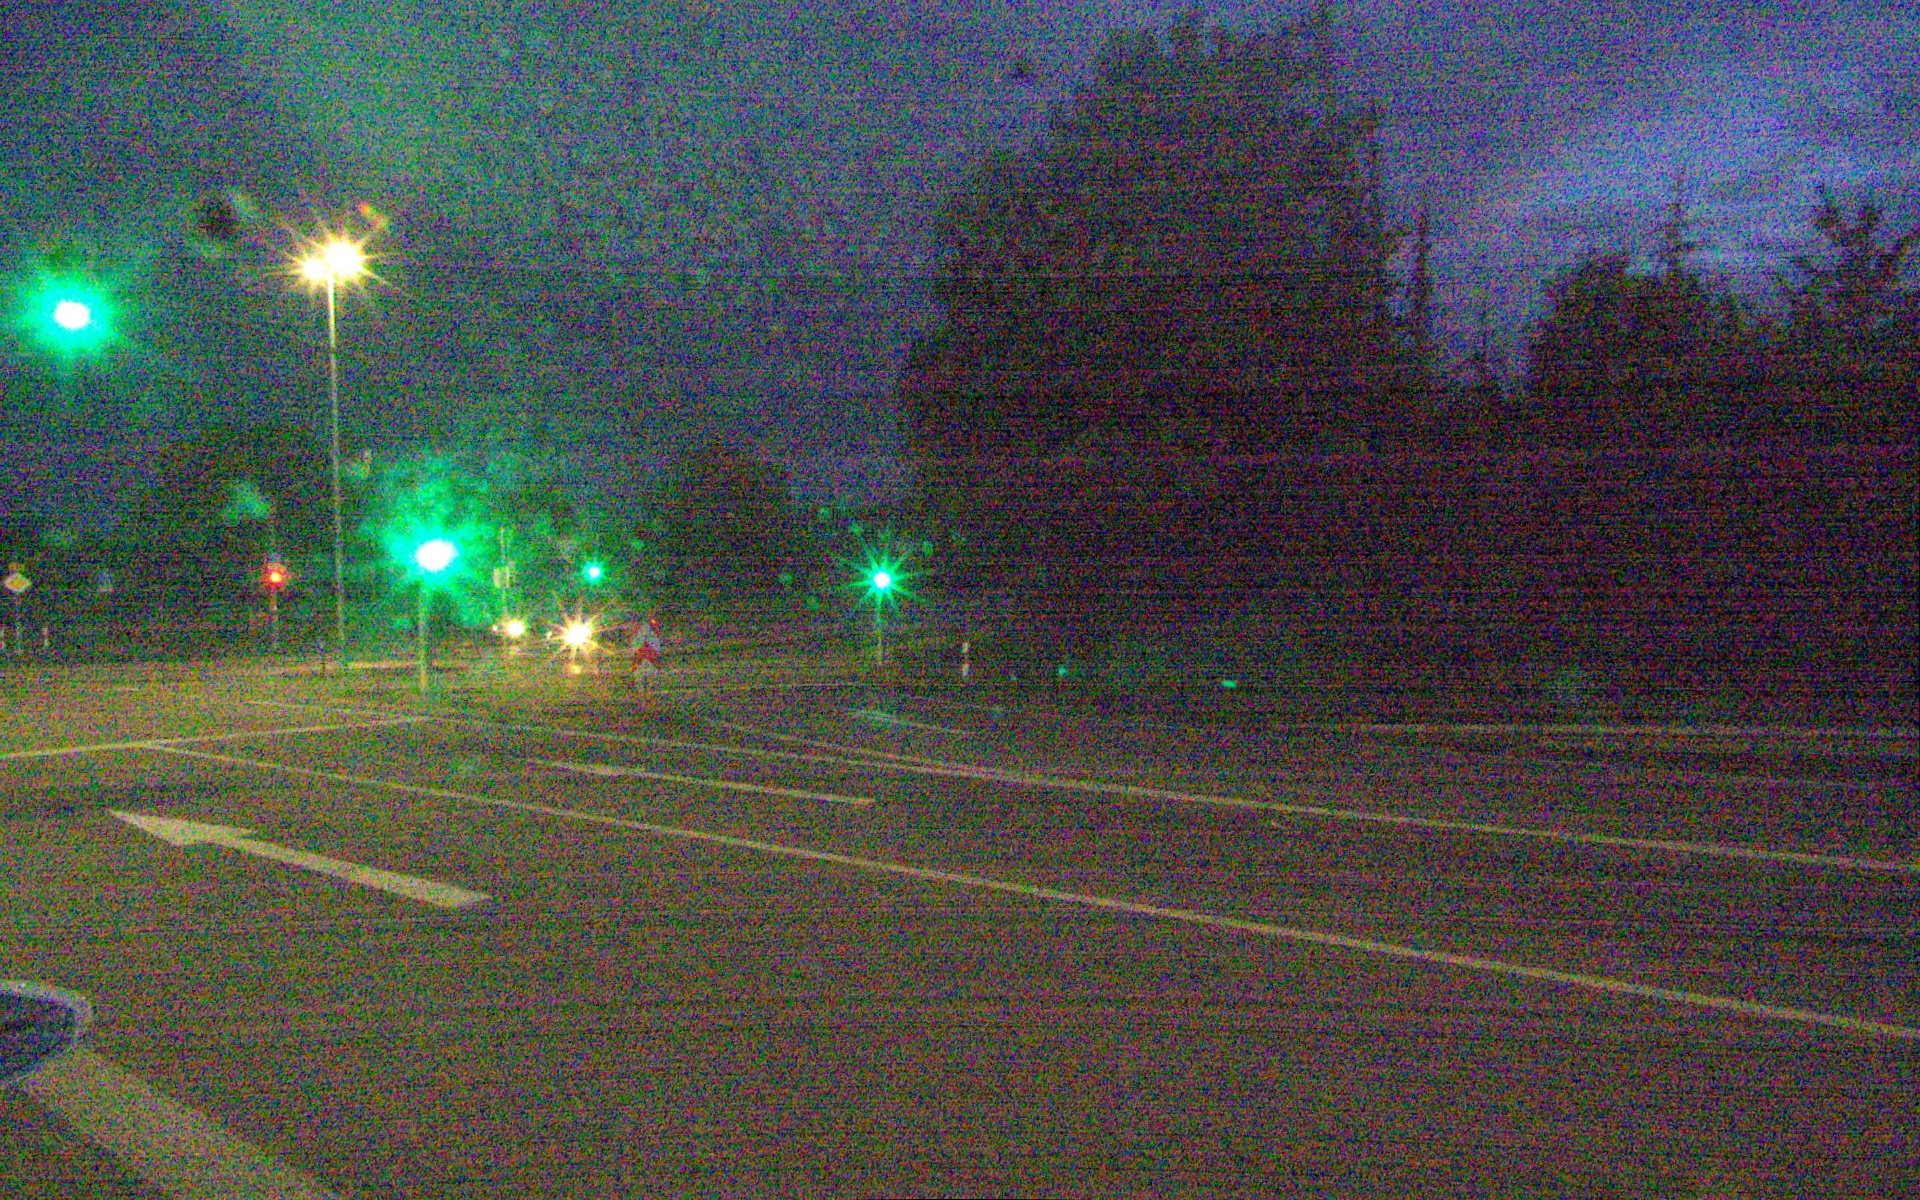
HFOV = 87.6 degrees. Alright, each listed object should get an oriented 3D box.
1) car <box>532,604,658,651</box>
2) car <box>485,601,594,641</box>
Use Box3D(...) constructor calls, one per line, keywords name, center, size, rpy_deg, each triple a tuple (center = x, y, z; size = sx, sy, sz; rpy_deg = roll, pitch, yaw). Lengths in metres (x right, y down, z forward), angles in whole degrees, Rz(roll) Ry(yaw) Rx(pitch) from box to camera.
Box3D(name="car", center=(-13.282, 0.967, 36.651), size=(1.972, 1.590, 4.069), rpy_deg=(0, 0, 29))
Box3D(name="car", center=(-17.679, 0.837, 42.267), size=(1.871, 1.590, 3.983), rpy_deg=(0, 0, 29))
